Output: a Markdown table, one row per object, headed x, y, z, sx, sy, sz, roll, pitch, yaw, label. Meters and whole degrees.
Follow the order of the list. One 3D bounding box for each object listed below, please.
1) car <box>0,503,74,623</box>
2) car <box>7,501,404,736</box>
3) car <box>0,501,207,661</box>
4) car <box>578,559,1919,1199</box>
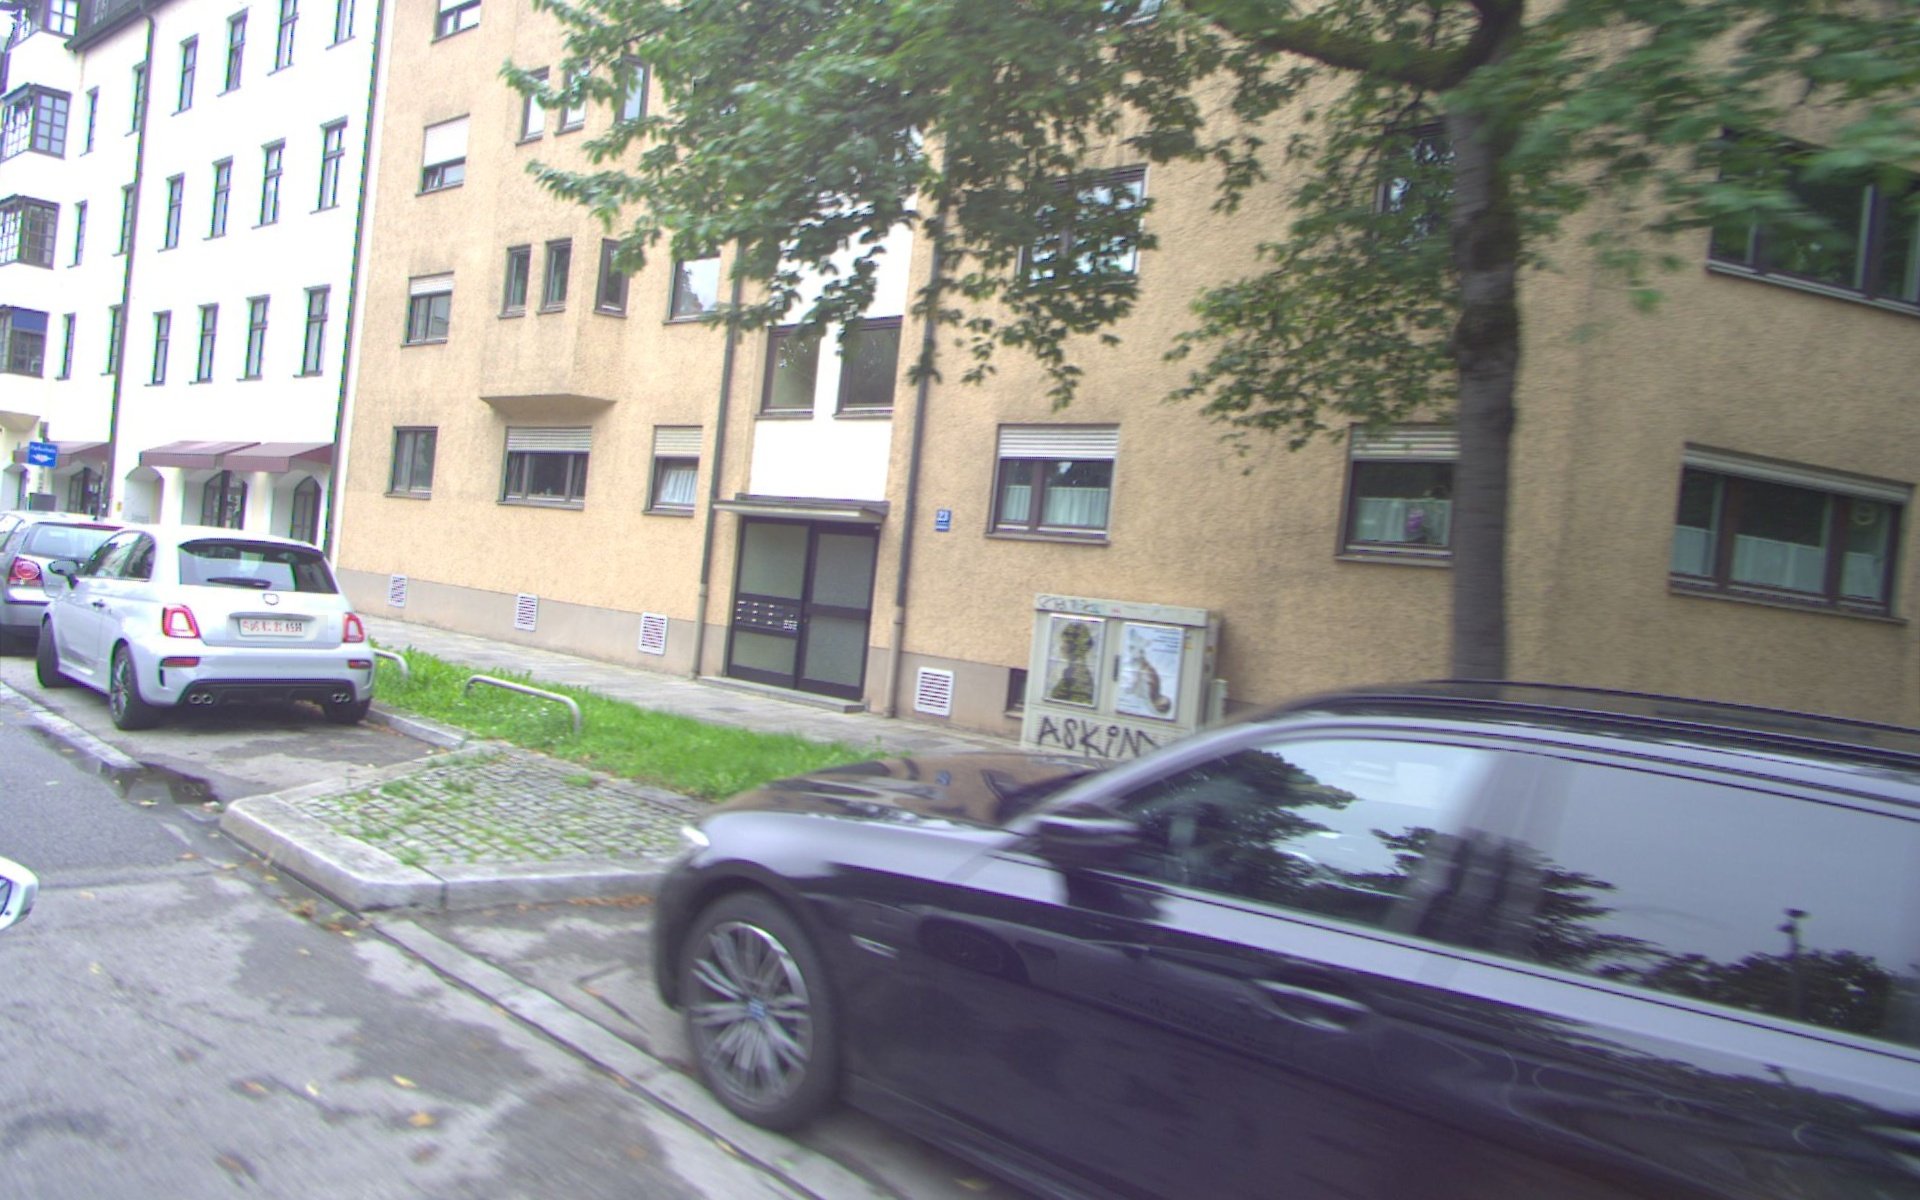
| x | y | z | sx | sy | sz | roll | pitch | yaw | label |
| --- | --- | --- | --- | --- | --- | --- | --- | --- | --- |
| -14.205 | -0.662 | 14.133 | 4.366 | 1.515 | 1.689 | 6 | 1 | 36 | car |
| -6.523 | 0.057 | 8.577 | 3.762 | 1.515 | 1.627 | 6 | 1 | 36 | car |
| -10.128 | -0.290 | 11.277 | 3.728 | 1.515 | 1.627 | 6 | 1 | 36 | car |
| 1.090 | 0.821 | 2.661 | 4.308 | 1.517 | 1.790 | 6 | 2 | 35 | car |
